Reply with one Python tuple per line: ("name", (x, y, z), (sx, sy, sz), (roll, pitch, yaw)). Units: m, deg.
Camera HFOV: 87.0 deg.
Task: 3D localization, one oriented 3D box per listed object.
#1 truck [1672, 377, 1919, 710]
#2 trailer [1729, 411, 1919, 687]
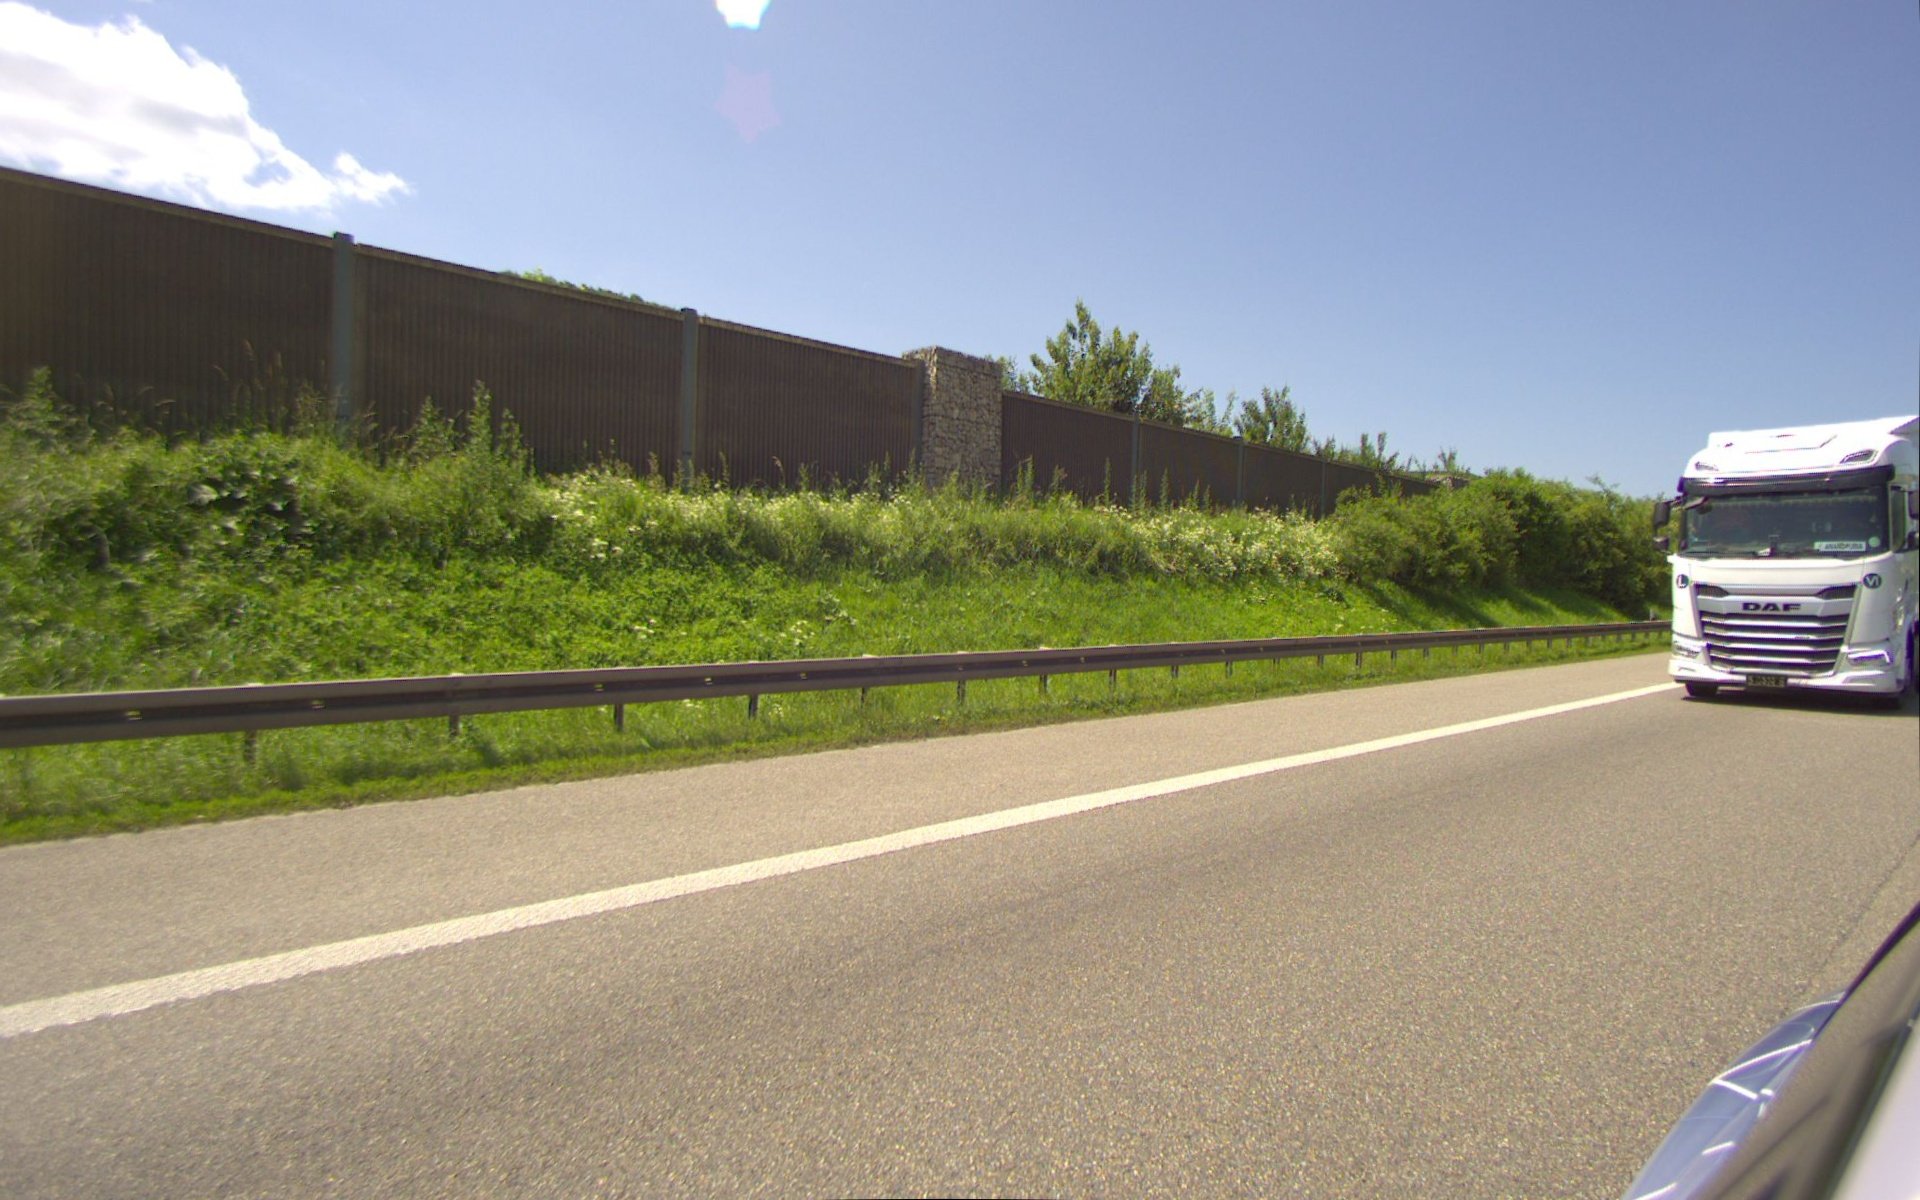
("truck", (13.097, -0.728, 15.303), (6.272, 4.027, 2.481), (0, 1, -42))
("trailer", (18.259, -0.804, 19.991), (13.422, 4.027, 2.481), (0, 1, -42))
